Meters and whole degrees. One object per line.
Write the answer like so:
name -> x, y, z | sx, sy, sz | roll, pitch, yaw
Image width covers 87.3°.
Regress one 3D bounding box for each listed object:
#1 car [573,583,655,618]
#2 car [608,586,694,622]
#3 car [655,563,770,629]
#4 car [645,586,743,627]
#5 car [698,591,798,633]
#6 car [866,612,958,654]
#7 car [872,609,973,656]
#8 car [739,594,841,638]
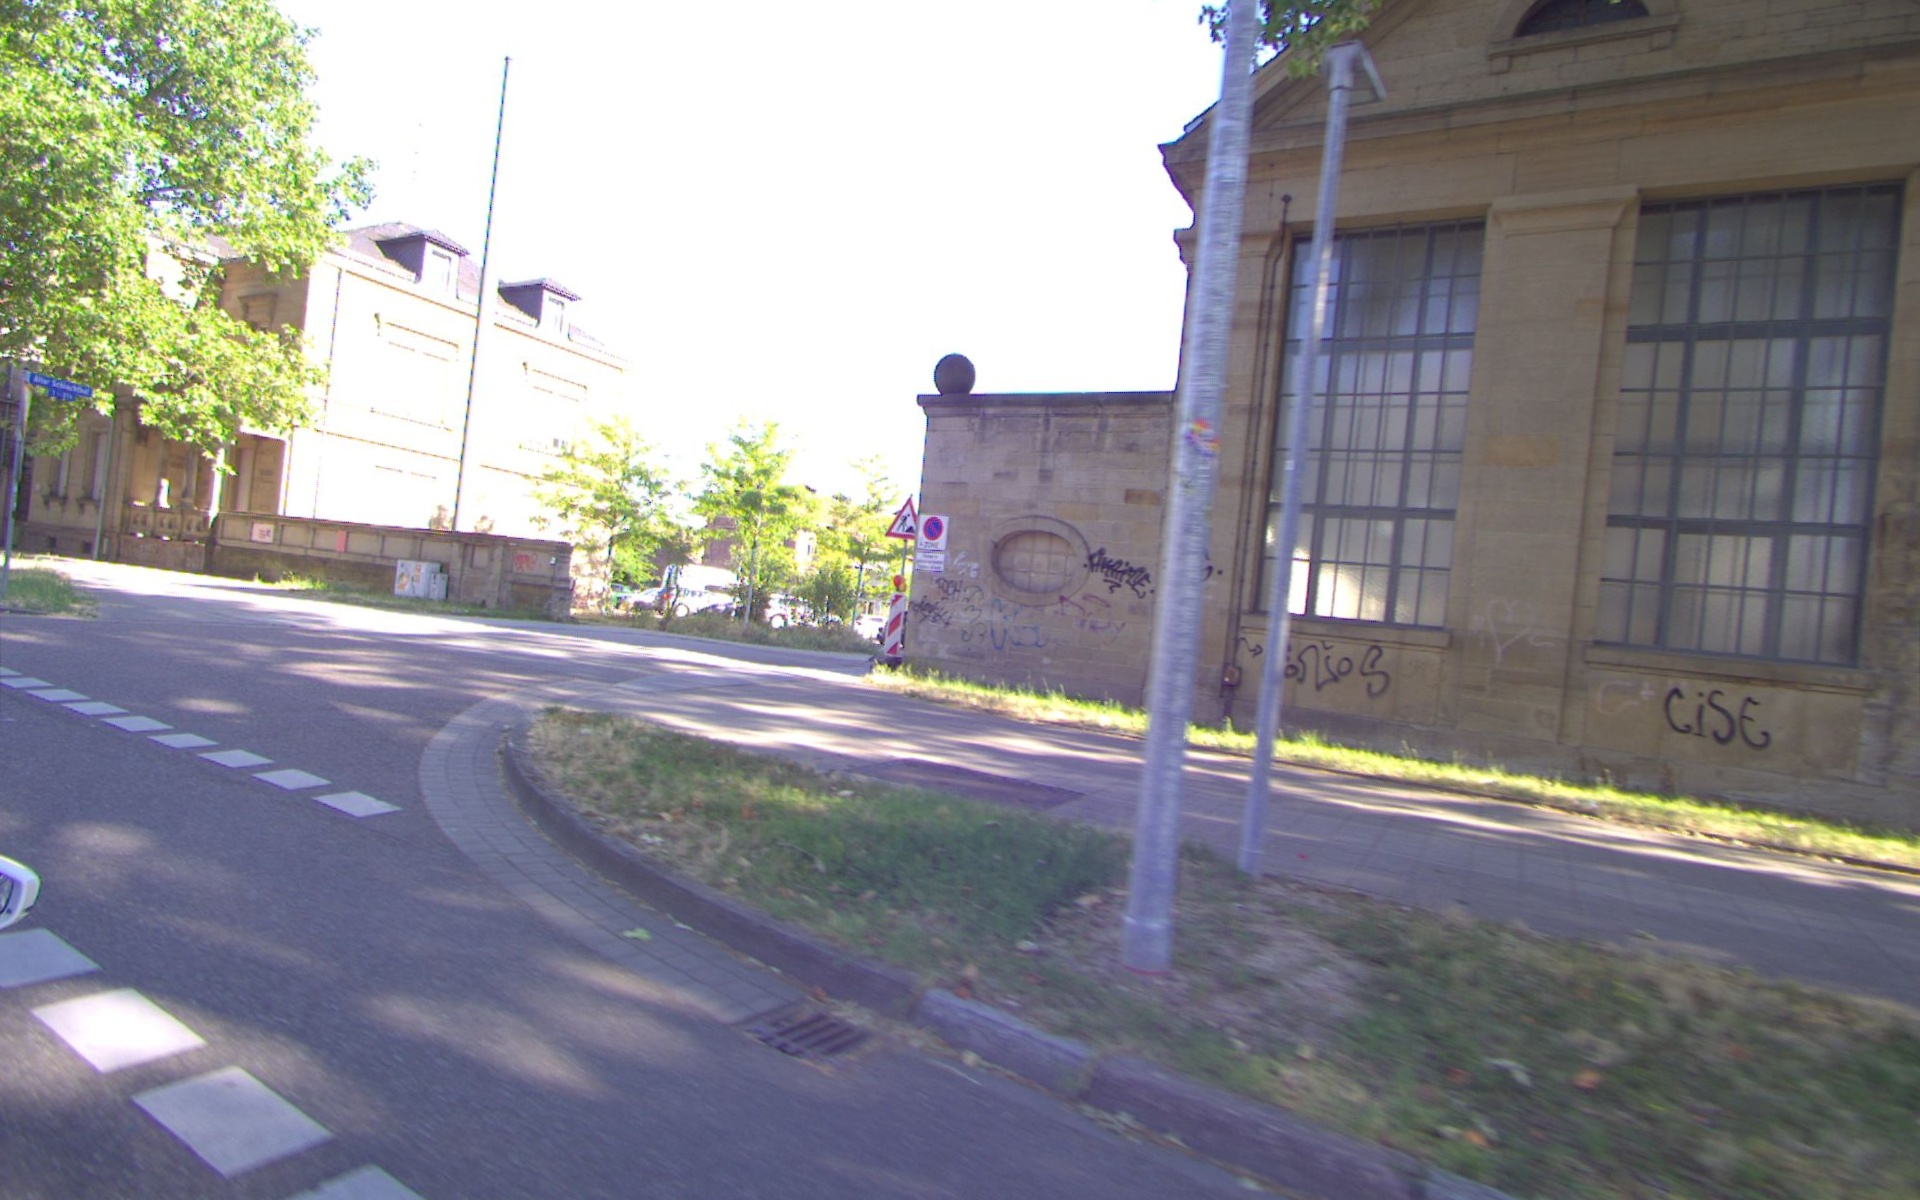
car -> -20.145, 0.035, 58.690 | 4.095, 1.528, 1.782 | 8, -3, -38
car -> -17.211, 0.232, 56.085 | 4.095, 1.528, 1.782 | 8, -3, -38
car -> -12.799, -0.166, 52.212 | 5.317, 2.839, 1.782 | 7, -2, -39
car -> -12.758, 0.323, 48.373 | 4.095, 1.528, 1.782 | 8, -3, -38
car -> -9.812, 0.567, 46.668 | 4.095, 1.528, 1.782 | 8, -3, -38
car -> -2.177, 1.539, 46.456 | 1.778, 1.528, 3.977 | 4, -3, 45
car -> -1.522, 1.378, 42.167 | 1.778, 1.528, 3.977 | 4, -3, 45
car -> -7.594, 0.717, 45.139 | 4.095, 1.528, 1.782 | 8, -3, -38
